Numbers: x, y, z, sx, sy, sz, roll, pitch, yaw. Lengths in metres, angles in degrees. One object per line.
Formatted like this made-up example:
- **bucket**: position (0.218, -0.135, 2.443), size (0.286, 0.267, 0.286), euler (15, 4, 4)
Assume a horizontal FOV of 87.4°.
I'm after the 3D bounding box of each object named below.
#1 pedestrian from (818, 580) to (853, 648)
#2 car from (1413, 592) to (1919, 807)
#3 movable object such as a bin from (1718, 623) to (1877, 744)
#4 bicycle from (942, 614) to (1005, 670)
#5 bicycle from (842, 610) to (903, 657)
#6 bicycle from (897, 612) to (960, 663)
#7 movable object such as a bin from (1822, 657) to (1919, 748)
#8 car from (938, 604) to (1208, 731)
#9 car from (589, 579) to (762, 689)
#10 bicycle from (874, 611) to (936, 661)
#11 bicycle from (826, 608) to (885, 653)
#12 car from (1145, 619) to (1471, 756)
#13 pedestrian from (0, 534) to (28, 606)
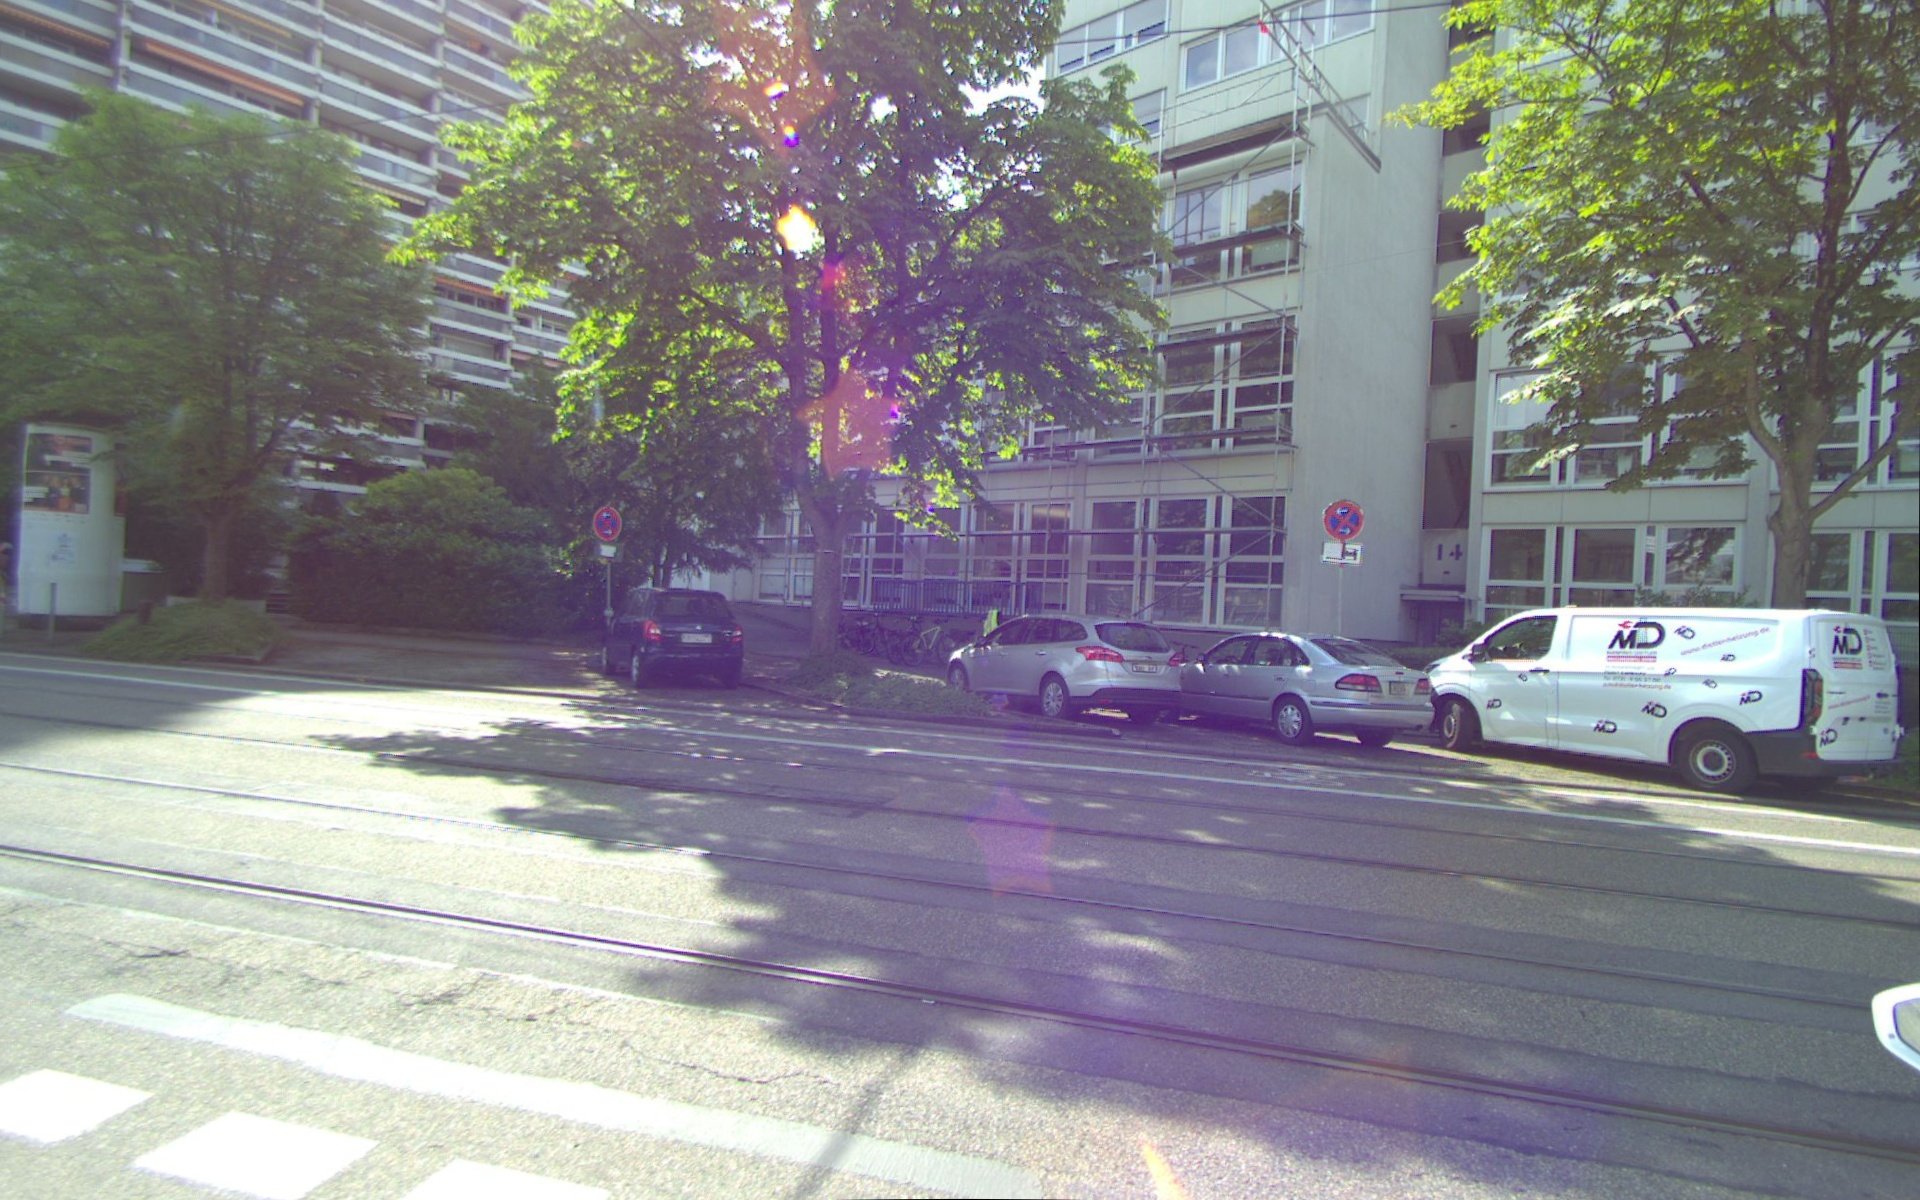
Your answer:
- **pedestrian**: position (-3.166, 0.353, 25.536), size (0.648, 1.646, 0.642), euler (4, 1, 7)
- **car**: position (8.089, 0.974, 12.017), size (1.943, 2.023, 4.654), euler (3, -1, -26)
- **movable object such as a bin**: position (13.861, 1.372, 16.704), size (1.508, 1.804, 1.393), euler (4, -3, 11)
- **bicycle**: position (0.310, 0.913, 21.975), size (0.534, 1.177, 1.574), euler (0, -2, 38)
- **bicycle**: position (-2.134, 0.835, 24.550), size (0.534, 1.107, 1.574), euler (0, -2, 39)
- **bicycle**: position (-0.708, 0.867, 23.072), size (0.534, 1.136, 1.574), euler (0, -2, 38)
- **movable object such as a bin**: position (15.351, 1.678, 16.330), size (1.508, 1.381, 1.393), euler (4, -3, 11)
- **car**: position (1.501, 0.900, 14.892), size (1.801, 1.520, 4.158), euler (3, -1, -30)
- **car**: position (-4.735, 0.492, 16.326), size (1.723, 1.543, 3.853), euler (3, 0, -31)
- **bicycle**: position (-1.279, 0.842, 23.527), size (0.534, 1.128, 1.574), euler (0, -2, 38)
- **bicycle**: position (-2.624, 0.778, 25.339), size (0.534, 1.095, 1.574), euler (0, -2, 39)
- **car**: position (4.572, 1.093, 13.864), size (1.799, 1.469, 4.142), euler (3, -1, -27)
- **pedestrian**: position (-24.097, -0.766, 25.387), size (0.623, 1.777, 0.524), euler (6, 3, 22)
